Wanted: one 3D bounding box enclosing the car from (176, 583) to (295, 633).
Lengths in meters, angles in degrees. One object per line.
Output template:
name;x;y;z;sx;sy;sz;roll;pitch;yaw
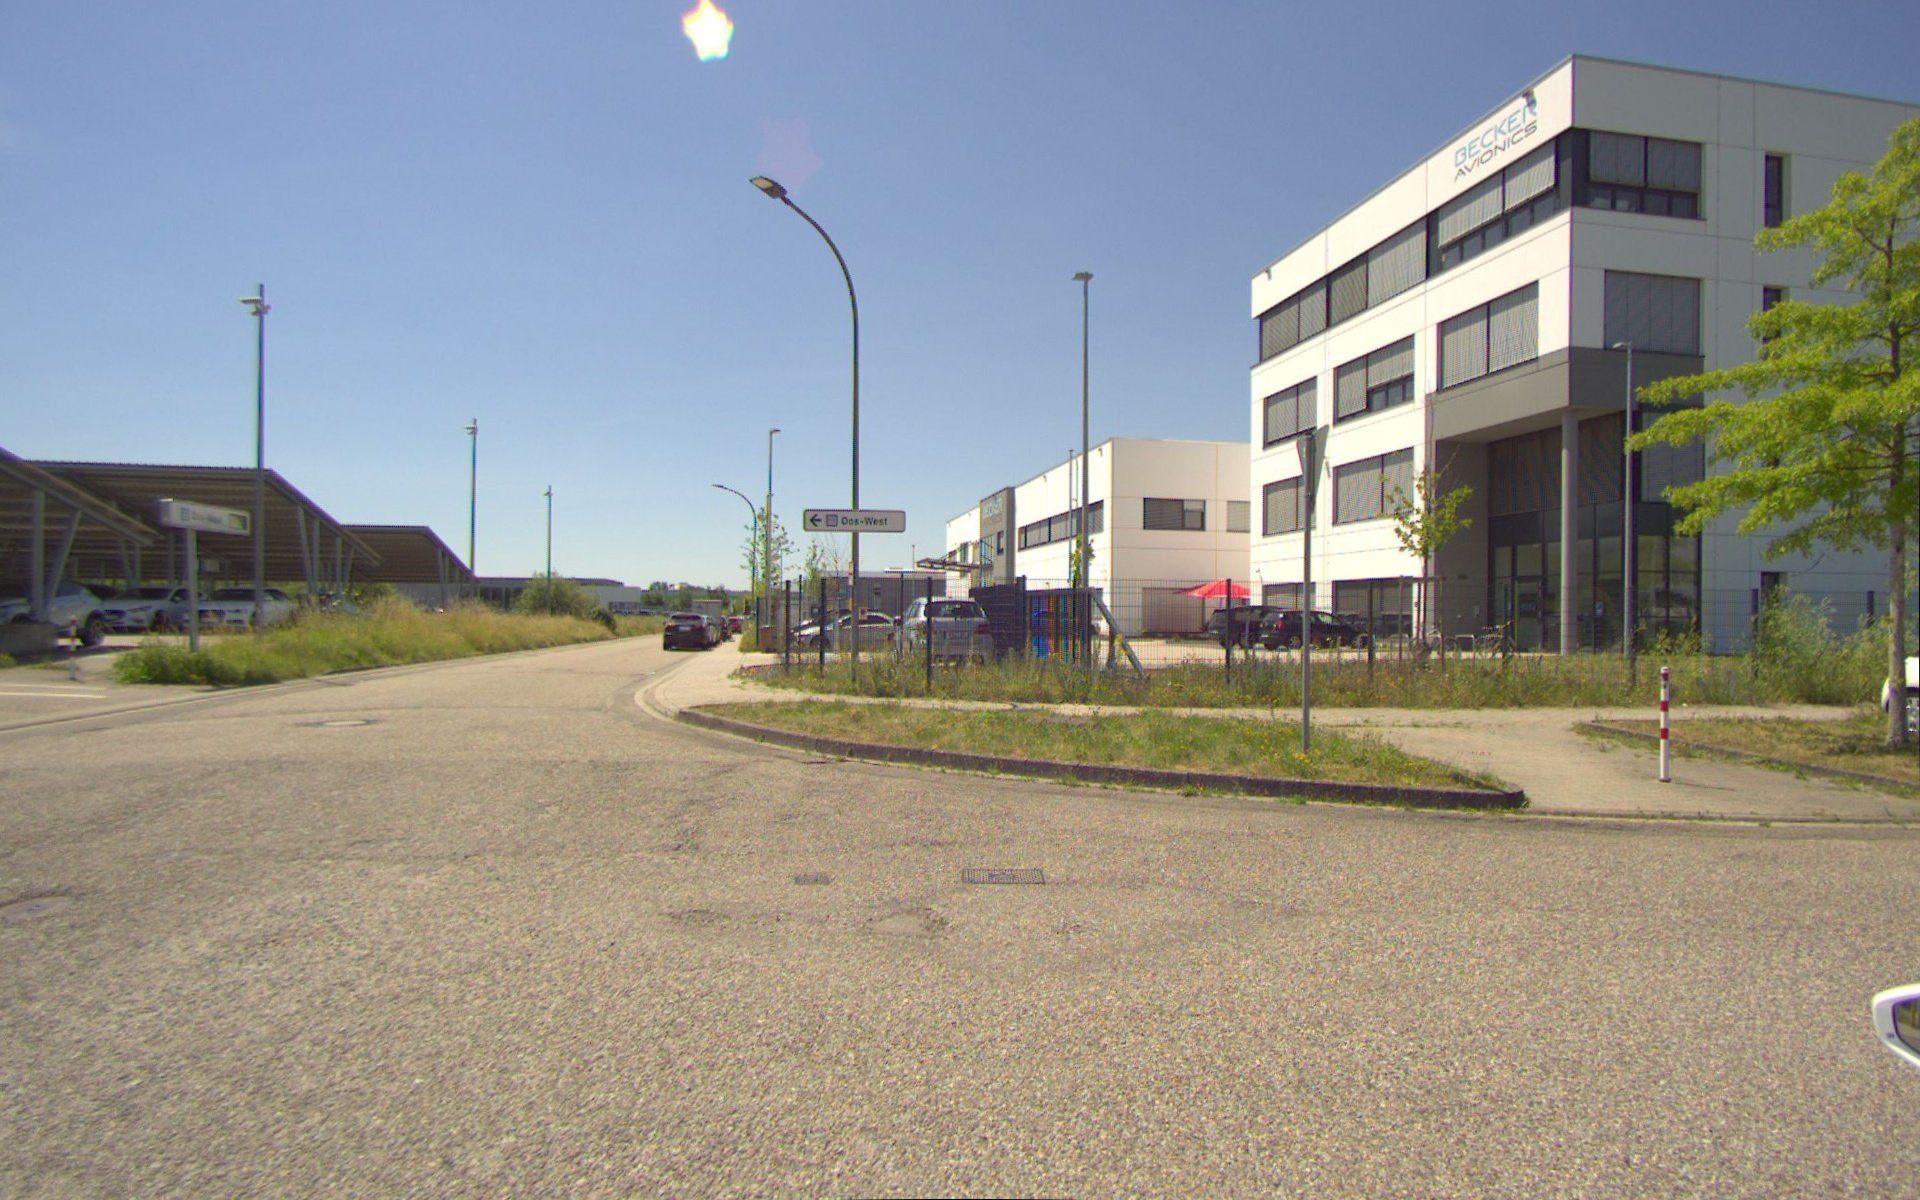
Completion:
car;-22.550;0.265;31.414;1.694;1.455;3.766;1;-1;-14

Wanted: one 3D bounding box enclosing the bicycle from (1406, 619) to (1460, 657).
bicycle;12.801;1.022;27.226;0.454;0.995;1.593;0;-1;-12

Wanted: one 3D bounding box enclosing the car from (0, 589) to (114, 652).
car;-20.215;0.436;21.507;1.694;1.244;3.766;1;-1;-14

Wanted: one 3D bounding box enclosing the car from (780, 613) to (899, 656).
car;-4.532;1.277;37.618;4.326;1.534;1.696;1;-1;-11

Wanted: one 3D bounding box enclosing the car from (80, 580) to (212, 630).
car;-25.161;0.172;31.211;1.694;1.455;3.766;1;-1;-14

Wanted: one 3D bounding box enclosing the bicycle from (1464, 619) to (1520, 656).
bicycle;14.612;1.020;27.623;0.454;0.995;1.593;0;-1;-12

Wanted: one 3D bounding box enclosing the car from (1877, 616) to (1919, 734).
car;13.061;0.970;11.468;1.697;1.460;3.509;0;1;-11

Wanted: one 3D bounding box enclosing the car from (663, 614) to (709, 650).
car;-11.247;1.291;41.348;1.668;1.395;3.990;1;-1;-13

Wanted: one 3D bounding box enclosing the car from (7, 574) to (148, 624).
car;-27.174;0.008;31.088;1.694;1.455;3.766;1;-1;-14

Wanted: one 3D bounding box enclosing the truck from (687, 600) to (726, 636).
truck;-14.932;1.059;59.212;2.130;2.040;5.082;1;-1;-14

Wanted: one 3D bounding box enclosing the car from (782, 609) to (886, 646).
car;-5.429;1.159;43.080;4.326;1.534;1.696;1;-1;-11

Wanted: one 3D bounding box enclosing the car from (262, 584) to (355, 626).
car;-23.919;0.196;37.000;1.694;1.455;3.766;1;-1;-14

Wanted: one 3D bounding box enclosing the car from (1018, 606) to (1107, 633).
car;5.299;1.025;52.101;4.262;1.357;1.778;1;-1;-12

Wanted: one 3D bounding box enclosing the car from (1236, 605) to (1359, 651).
car;12.322;1.022;36.773;3.930;1.623;1.778;1;-1;-12

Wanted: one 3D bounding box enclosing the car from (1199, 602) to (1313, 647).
car;11.616;0.968;39.518;3.930;1.706;1.778;1;-1;-12

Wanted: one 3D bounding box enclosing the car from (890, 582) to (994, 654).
car;-0.490;0.402;22.545;1.693;1.483;3.673;1;-1;-12
